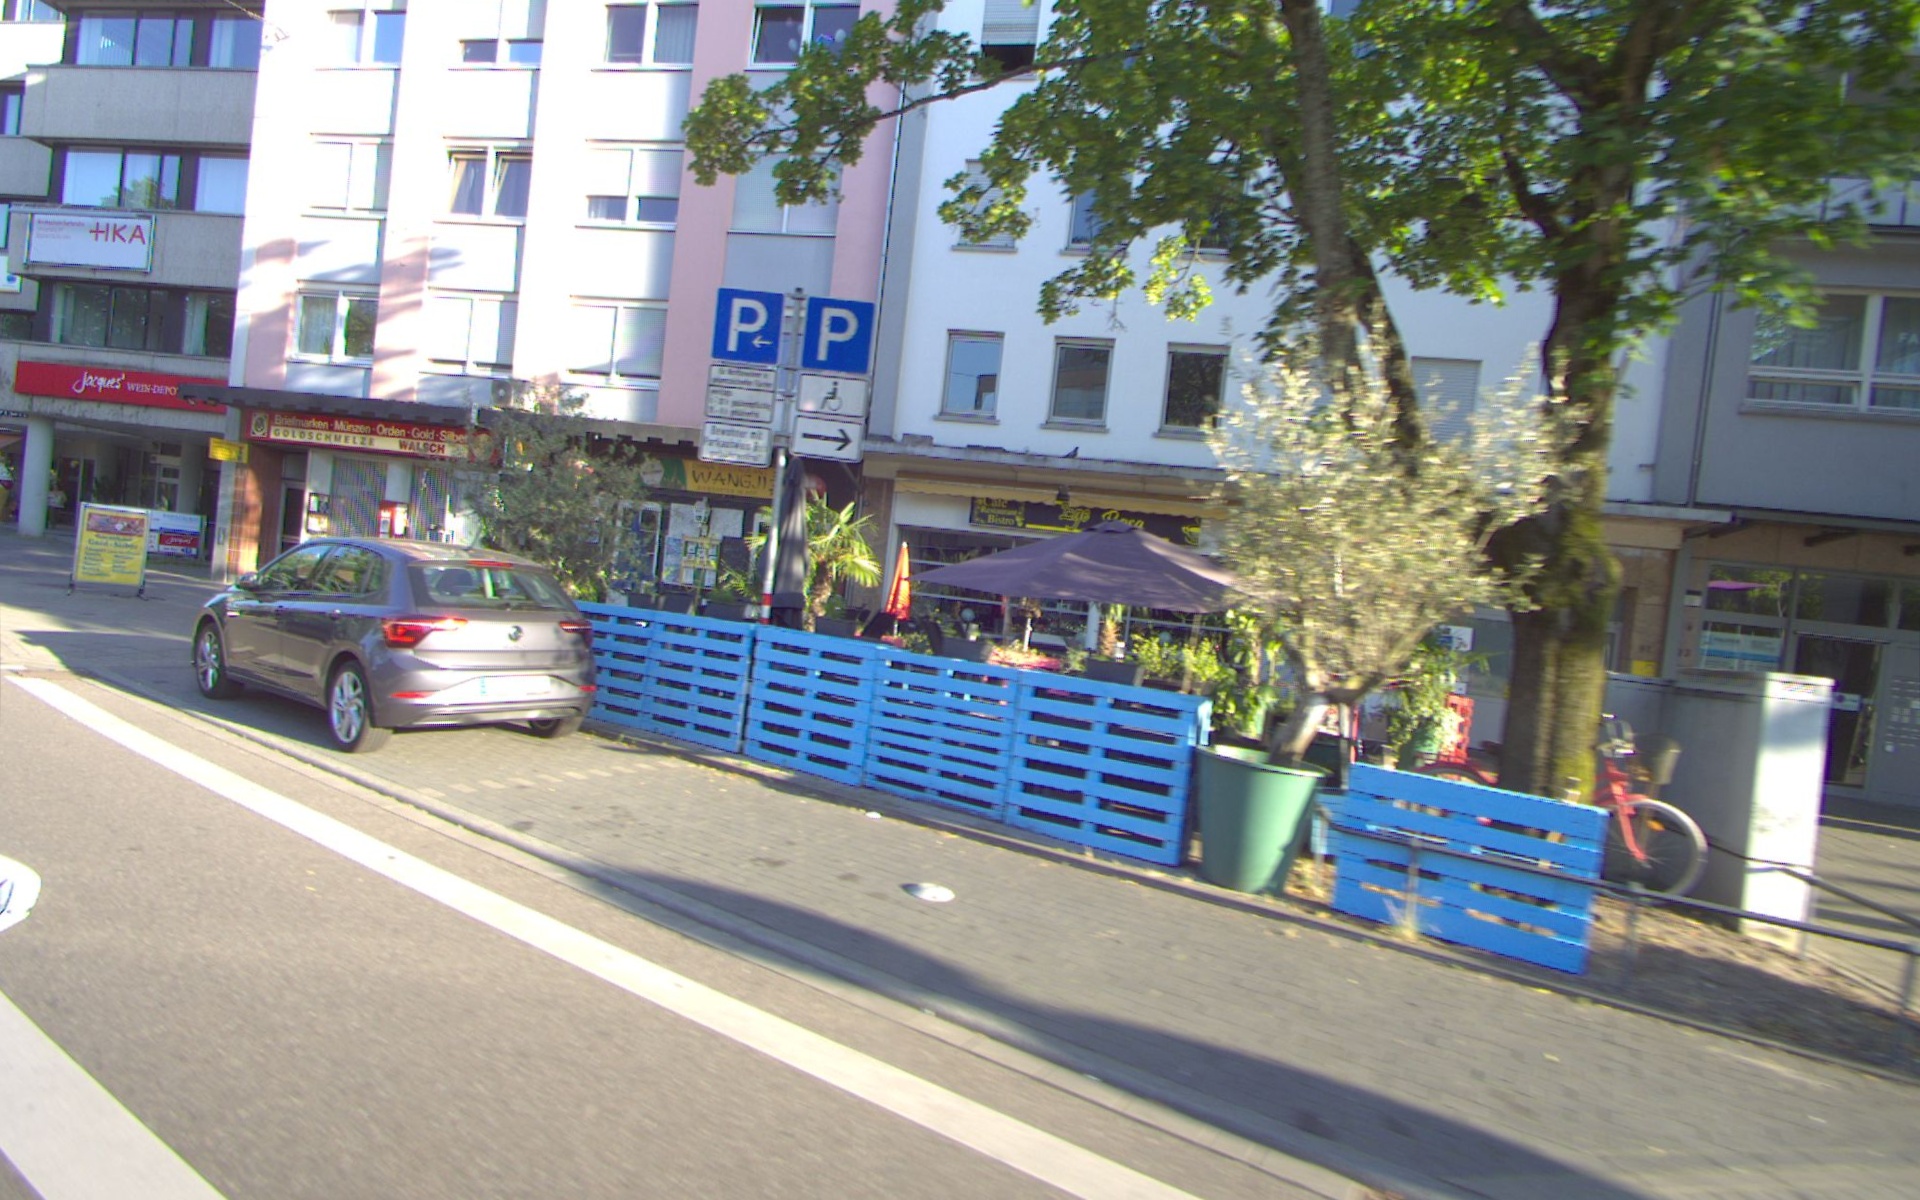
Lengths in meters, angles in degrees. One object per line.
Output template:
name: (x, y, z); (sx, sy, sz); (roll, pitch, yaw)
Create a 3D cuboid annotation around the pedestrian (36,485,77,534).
pedestrian: (-34.231, -3.428, 38.117); (0.632, 1.695, 0.988); (7, 2, 37)

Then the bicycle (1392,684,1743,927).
bicycle: (3.759, 1.247, 6.351); (1.722, 1.172, 0.422); (8, 1, 14)

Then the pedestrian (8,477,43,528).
pedestrian: (-34.726, -3.624, 37.385); (1.017, 1.749, 0.696); (7, 2, 38)

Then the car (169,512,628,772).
car: (-4.649, 0.199, 8.147); (3.838, 1.492, 1.726); (6, 2, 35)

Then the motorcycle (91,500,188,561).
motorcycle: (-20.832, -1.741, 25.575); (0.573, 1.349, 1.786); (6, 2, 24)

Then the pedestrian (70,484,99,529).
pedestrian: (-37.211, -3.959, 42.777); (0.511, 1.781, 0.599); (7, 0, 13)
